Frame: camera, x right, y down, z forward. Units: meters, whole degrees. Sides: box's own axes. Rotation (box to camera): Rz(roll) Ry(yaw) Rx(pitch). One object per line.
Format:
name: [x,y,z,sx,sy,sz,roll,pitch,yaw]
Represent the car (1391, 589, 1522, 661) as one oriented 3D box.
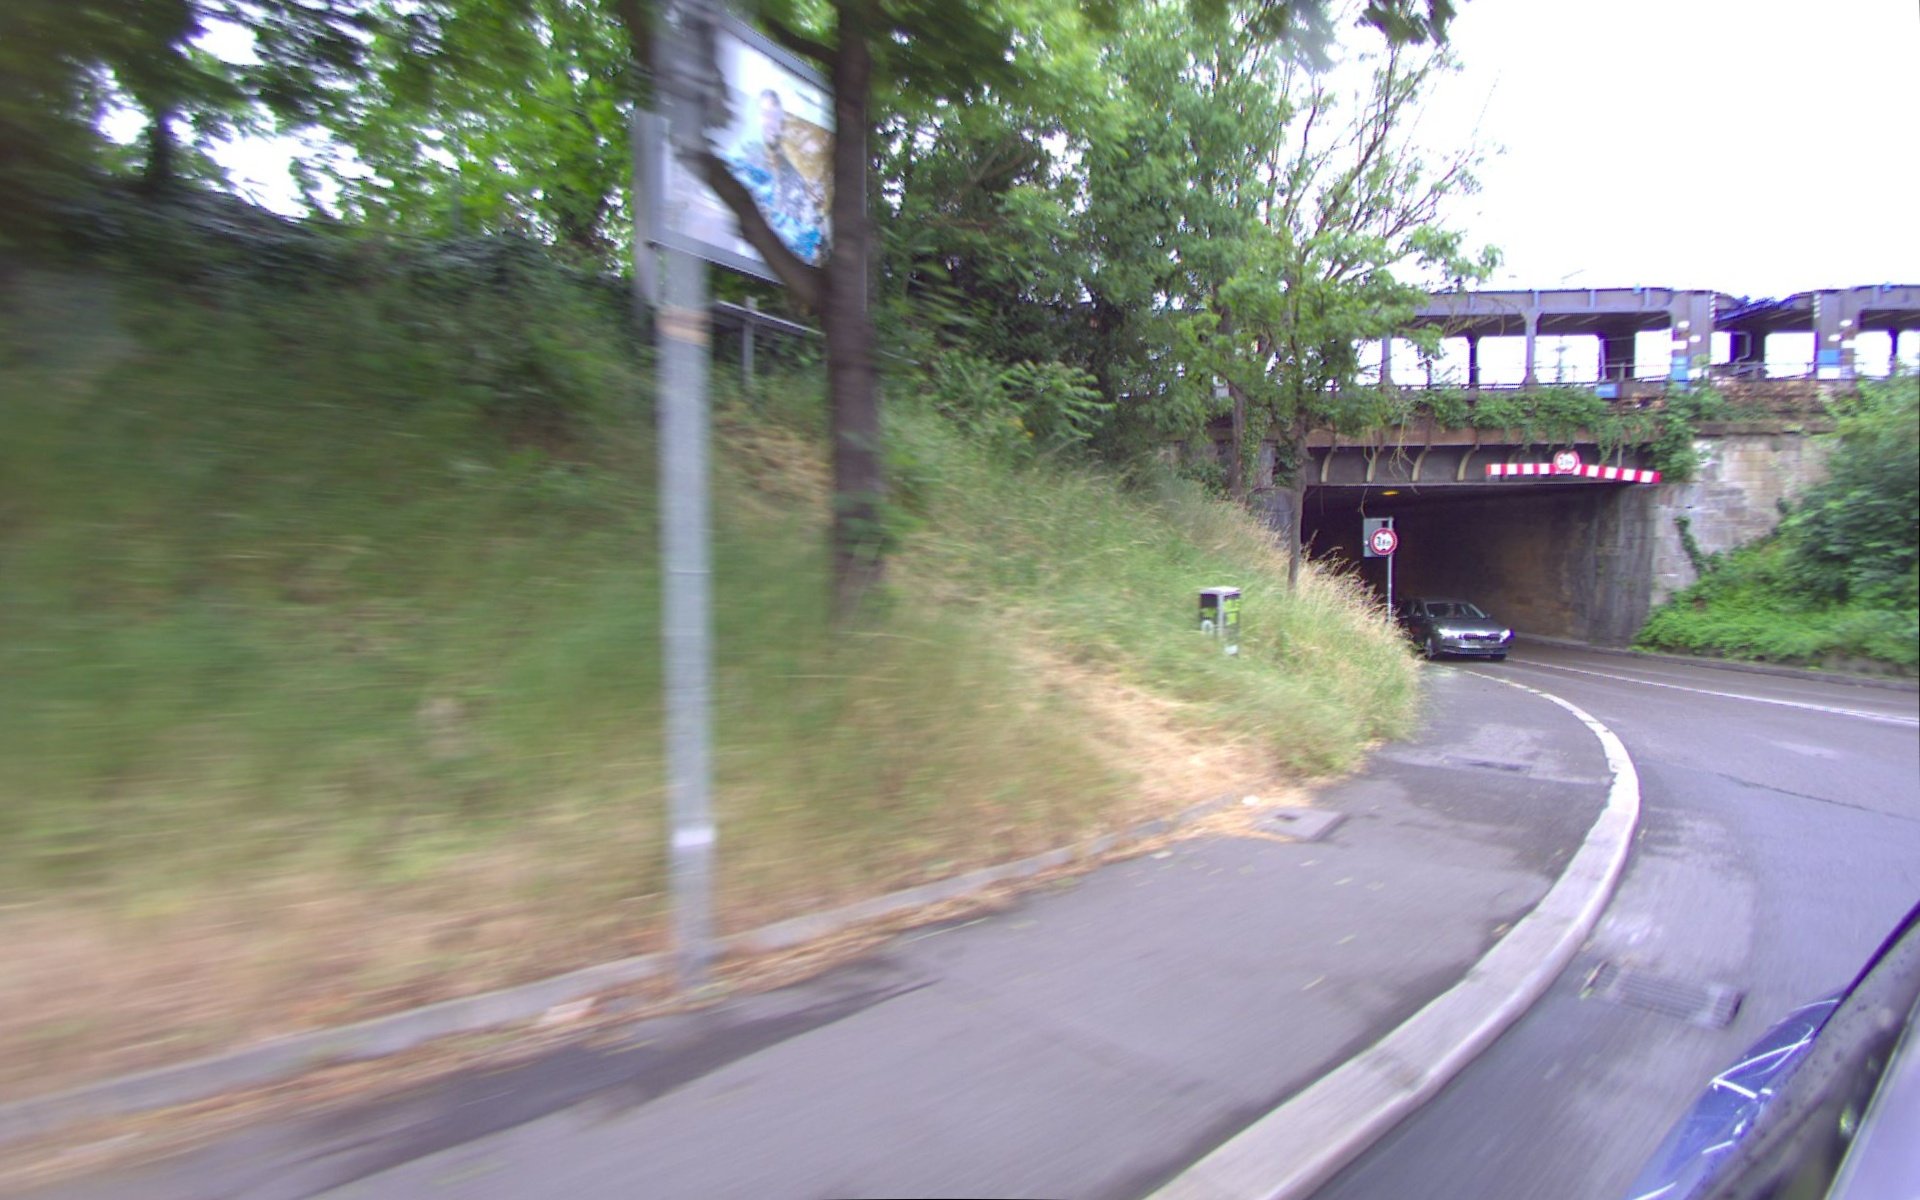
car: [12.253,0.551,25.270,1.782,1.536,4.043,-1,2,9]
